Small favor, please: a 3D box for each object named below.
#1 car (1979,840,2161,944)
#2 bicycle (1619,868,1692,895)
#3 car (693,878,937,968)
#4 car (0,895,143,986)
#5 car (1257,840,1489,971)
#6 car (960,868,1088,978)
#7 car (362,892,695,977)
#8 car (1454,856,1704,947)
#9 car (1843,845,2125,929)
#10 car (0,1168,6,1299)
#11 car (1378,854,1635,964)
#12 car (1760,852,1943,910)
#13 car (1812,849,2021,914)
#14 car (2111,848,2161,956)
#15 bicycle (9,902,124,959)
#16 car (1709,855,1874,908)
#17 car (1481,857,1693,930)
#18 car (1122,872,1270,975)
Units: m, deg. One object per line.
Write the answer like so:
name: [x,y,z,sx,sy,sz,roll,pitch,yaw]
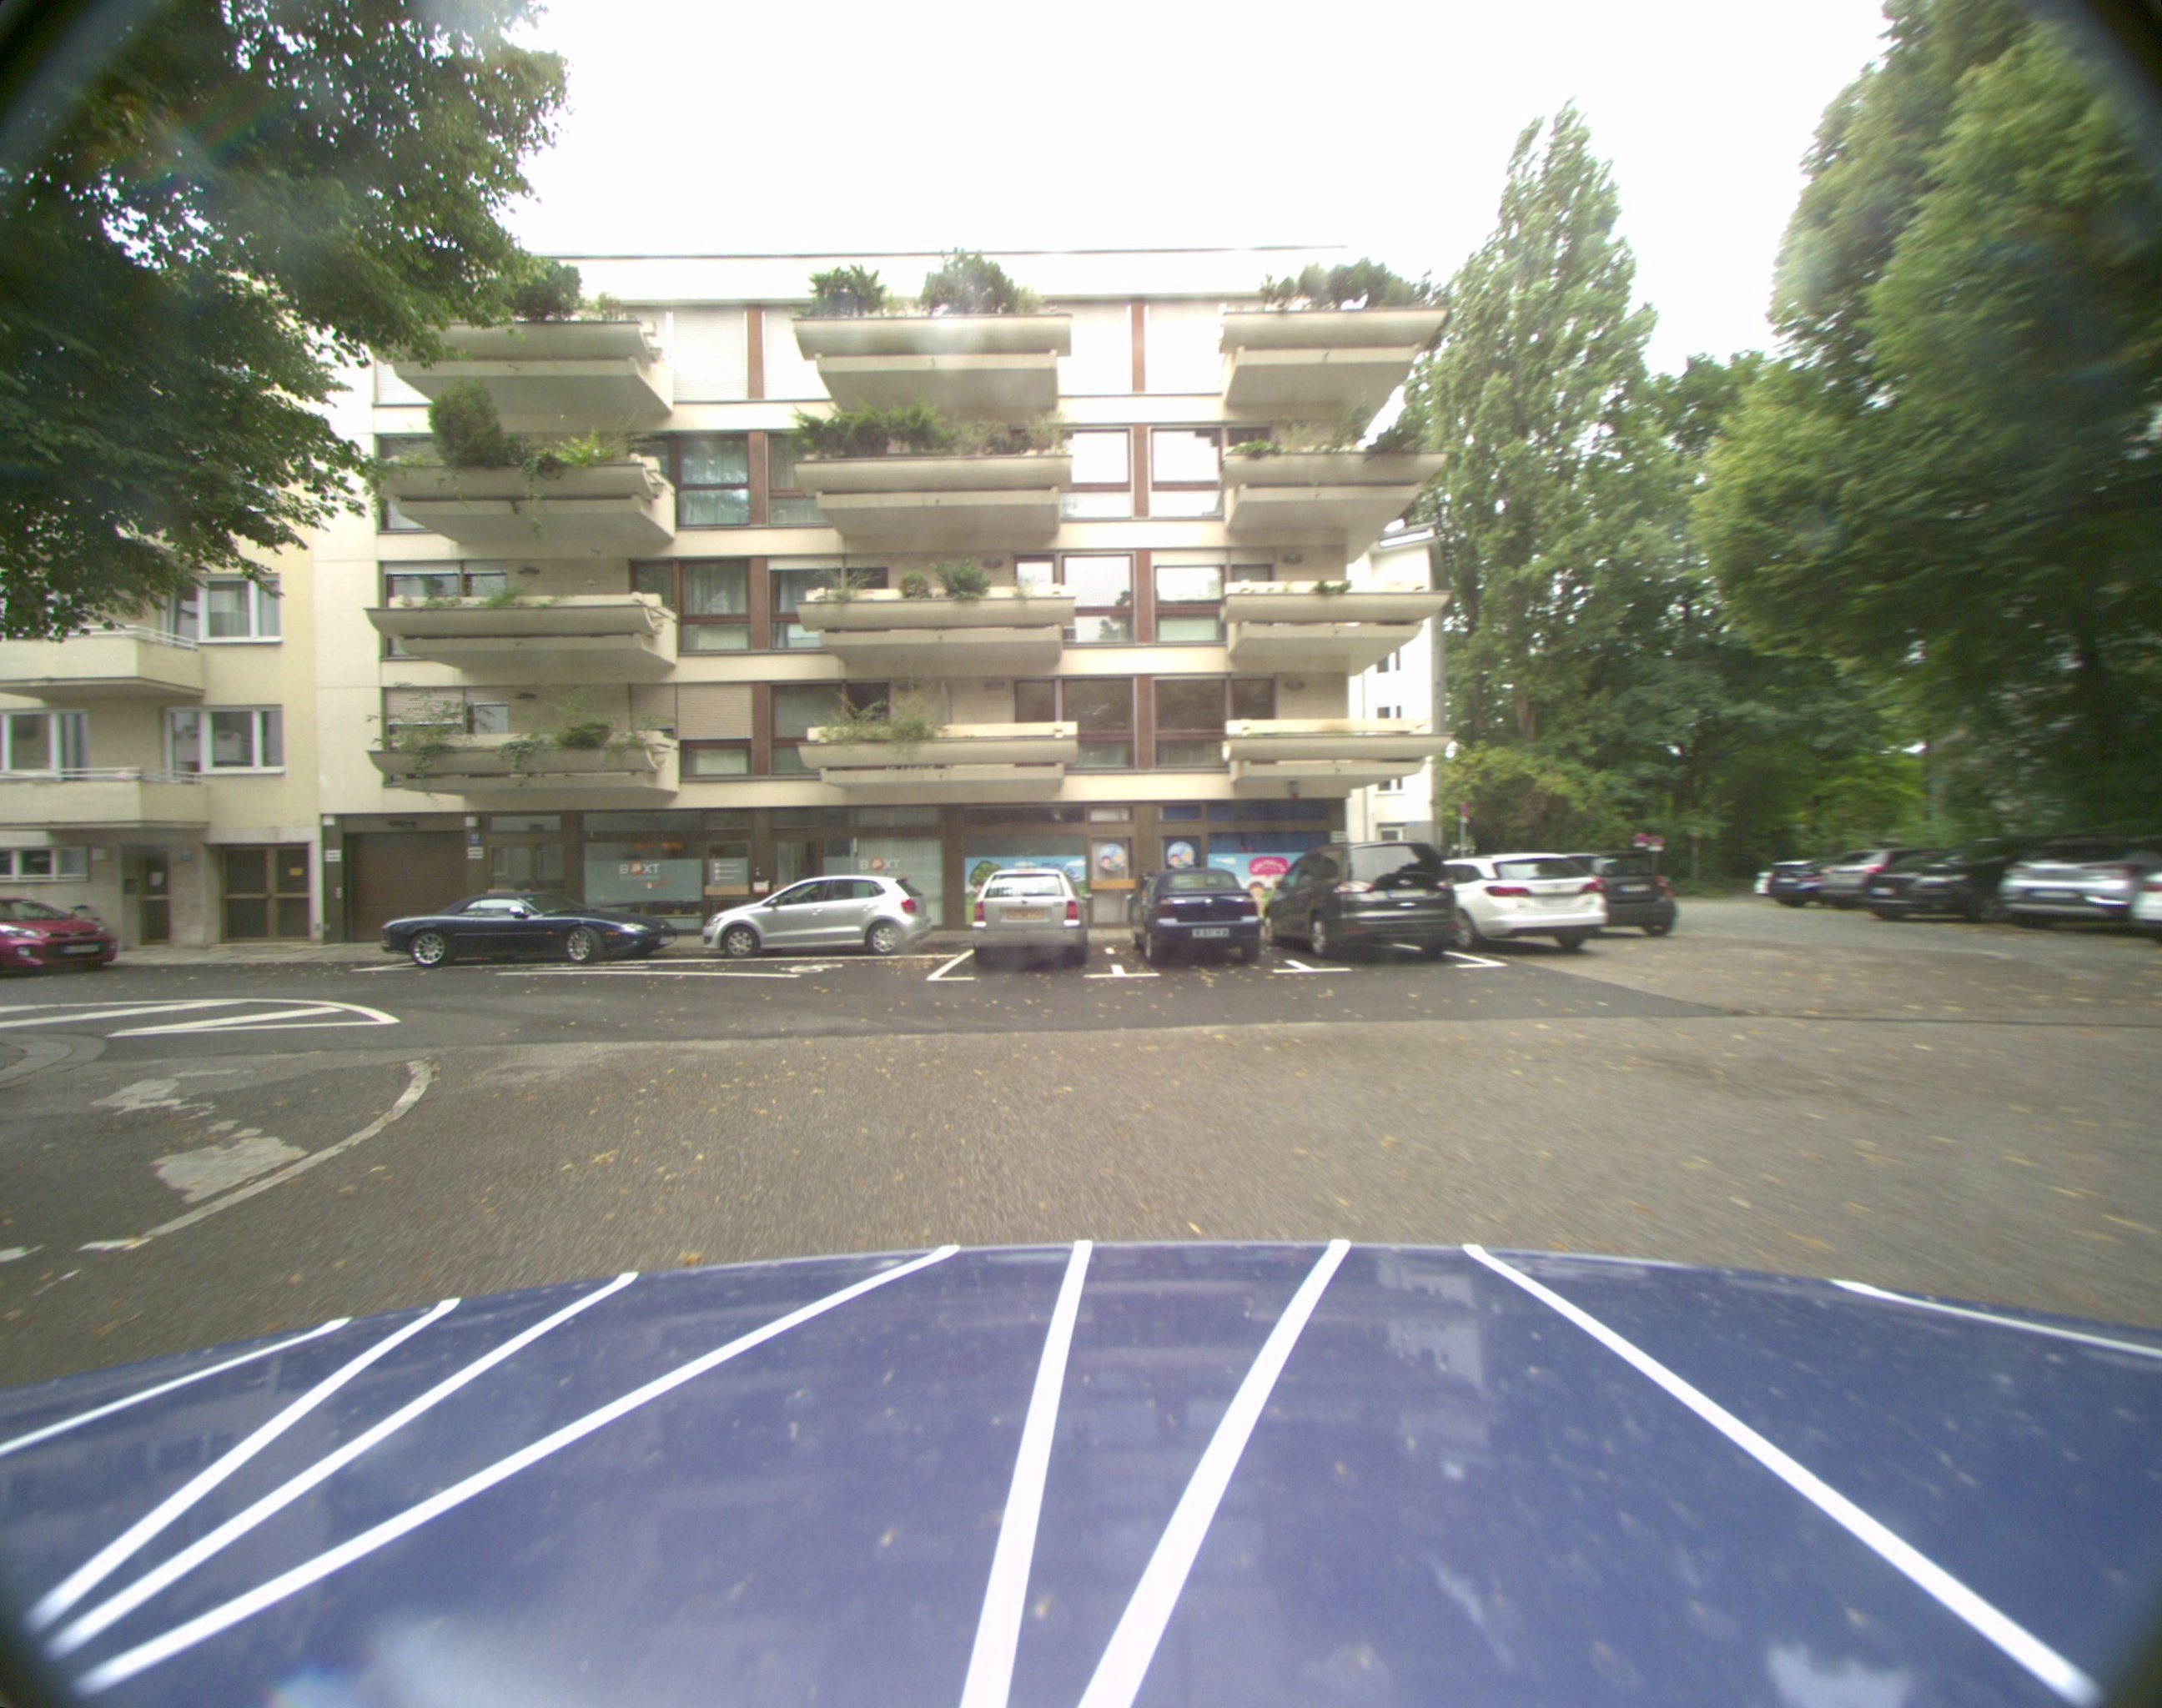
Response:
car: [17.601,0.538,12.237,3.996,1.501,1.875,-1,1,2]
bicycle: [24.874,1.192,32.951,2.463,1.112,0.827,-1,1,31]
car: [-4.669,1.195,13.707,3.831,1.413,1.566,-2,-2,-2]
car: [-20.136,1.574,13.935,3.706,1.487,1.624,-1,0,-2]
car: [4.362,0.759,12.174,1.901,1.673,4.234,-2,-2,-2]
car: [-0.815,1.039,12.540,1.720,1.445,4.243,-2,-3,-1]
car: [-9.698,1.389,13.627,4.614,1.270,1.803,-2,-2,-1]
car: [9.301,0.879,14.663,1.835,1.470,3.999,-1,-3,-7]
car: [17.657,0.573,14.927,4.002,1.393,2.060,-2,1,-15]
car: [-6.607,1.193,1.737,4.734,1.369,1.958,-1,1,-10]
car: [6.655,0.847,12.475,1.834,1.470,4.001,-1,-3,-2]
car: [22.081,0.736,21.836,4.000,1.469,1.722,-2,1,-10]
car: [21.279,0.650,19.414,4.000,1.469,1.722,-2,1,-10]
car: [16.345,0.595,9.689,3.996,1.423,1.724,-1,1,2]
bicycle: [-21.690,1.630,16.261,1.759,1.142,0.469,-2,1,0]
car: [22.337,0.839,23.934,4.000,1.469,1.722,-2,1,-10]
car: [11.265,0.791,17.302,1.756,1.390,3.996,-1,1,-9]
car: [1.682,1.027,12.455,1.716,1.359,4.073,-2,-2,-1]
